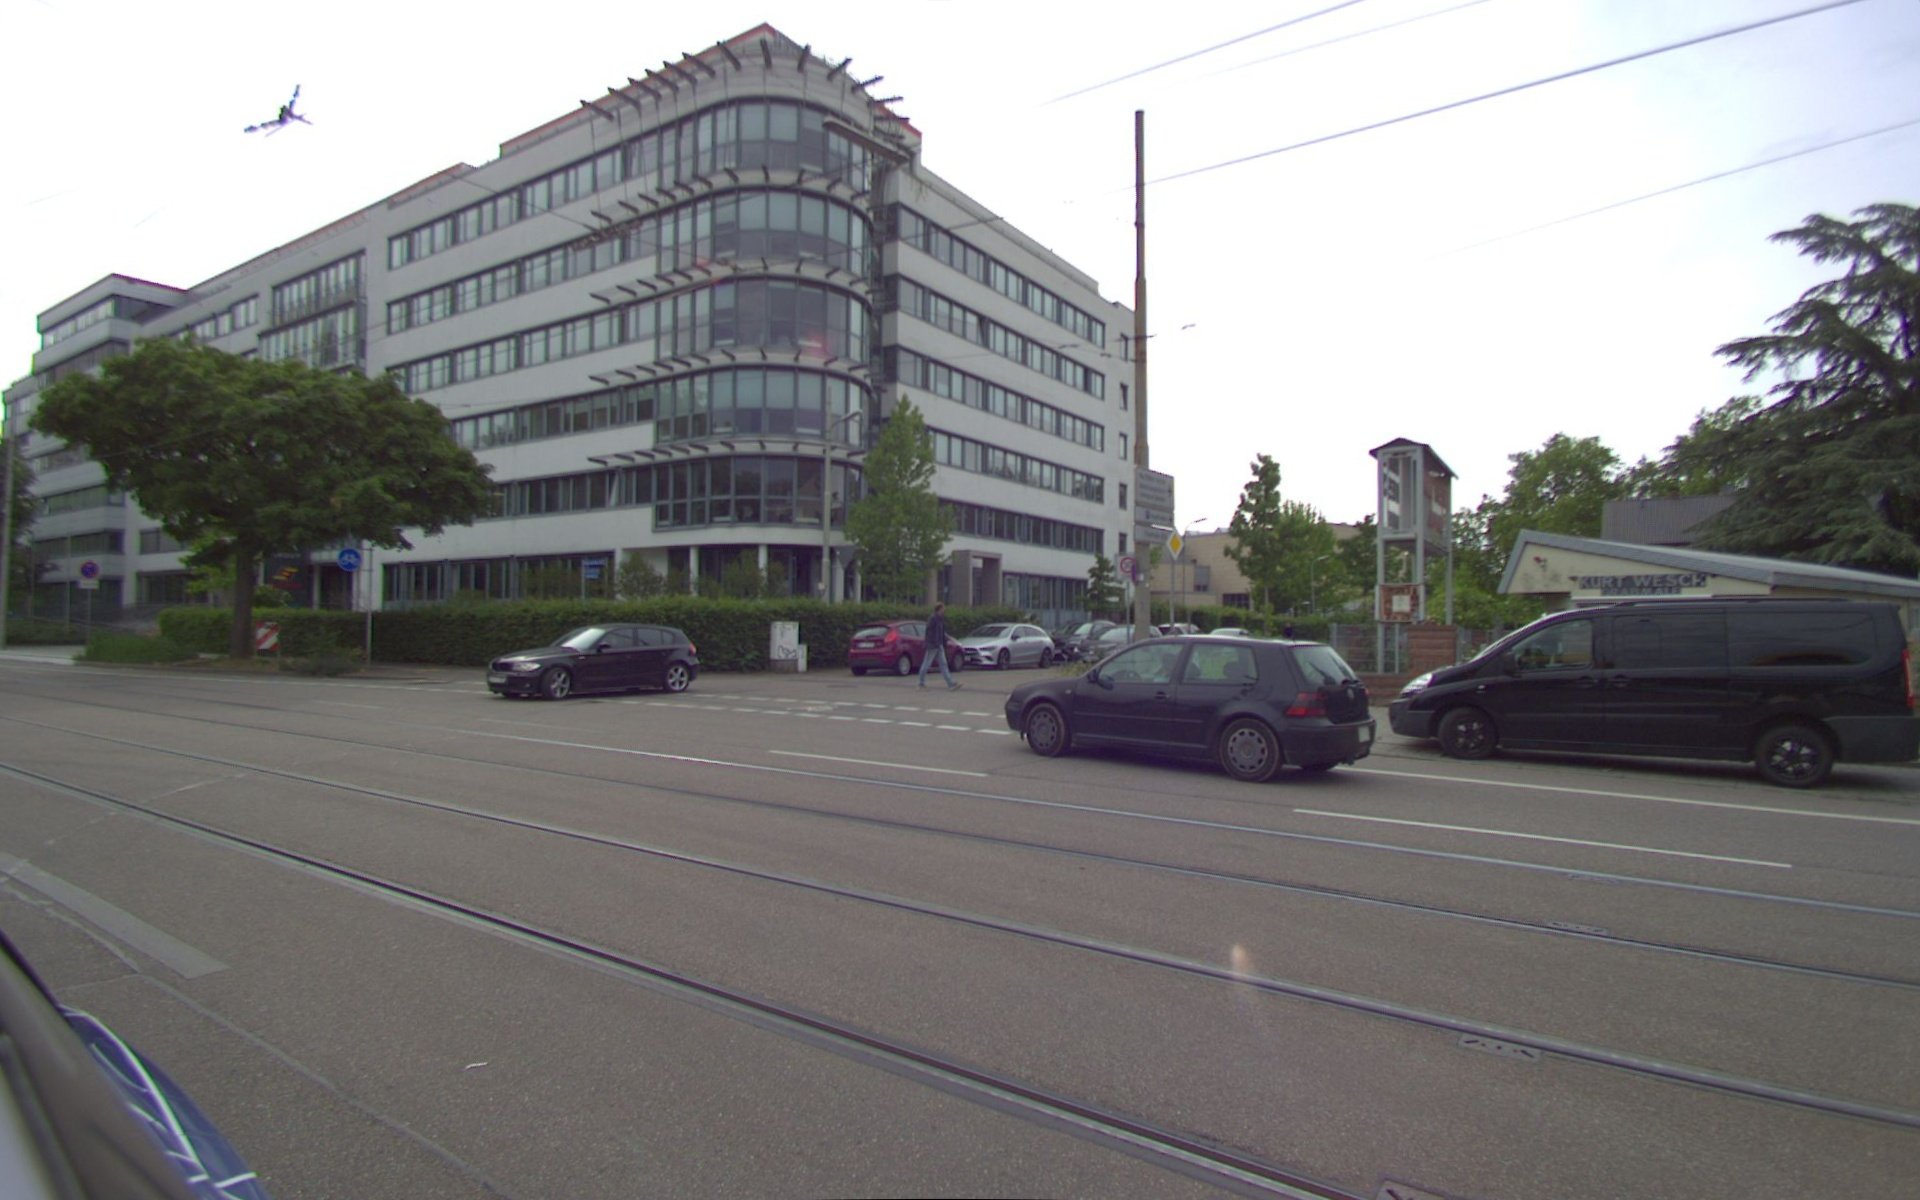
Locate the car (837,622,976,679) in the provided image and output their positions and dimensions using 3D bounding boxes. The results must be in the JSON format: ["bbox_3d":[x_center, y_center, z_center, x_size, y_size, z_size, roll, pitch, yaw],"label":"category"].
[{"bbox_3d":[-1.393,1.344,27.583,1.721,1.433,3.972,-2,-3,35],"label":"car"}]

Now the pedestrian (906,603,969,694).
[{"bbox_3d":[-0.467,0.993,21.246,1.058,1.839,0.796,-1,-1,39],"label":"pedestrian"}]

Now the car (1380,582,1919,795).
[{"bbox_3d":[7.878,0.858,11.822,5.175,2.029,1.969,0,0,36],"label":"car"}]

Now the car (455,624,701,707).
[{"bbox_3d":[-7.200,1.170,19.392,1.787,1.379,4.057,-1,-1,41],"label":"car"}]

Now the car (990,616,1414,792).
[{"bbox_3d":[2.477,0.997,10.989,4.141,1.542,1.770,-1,-4,43],"label":"car"}]

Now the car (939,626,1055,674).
[{"bbox_3d":[1.196,1.488,31.039,1.774,1.359,4.002,0,-1,33],"label":"car"}]

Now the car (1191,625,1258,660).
[{"bbox_3d":[12.813,2.003,48.920,1.876,1.573,3.952,0,-1,35],"label":"car"}]

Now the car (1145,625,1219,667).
[{"bbox_3d":[9.710,1.971,44.103,1.884,1.694,3.791,0,-1,35],"label":"car"}]

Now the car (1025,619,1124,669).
[{"bbox_3d":[4.116,1.528,35.917,1.993,1.663,3.957,0,-2,32],"label":"car"}]

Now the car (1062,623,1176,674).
[{"bbox_3d":[4.922,1.460,30.987,1.814,1.462,3.936,-1,-2,37],"label":"car"}]

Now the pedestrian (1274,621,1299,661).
[{"bbox_3d":[16.984,2.142,52.595,1.181,2.029,1.207,0,-2,22],"label":"pedestrian"}]
